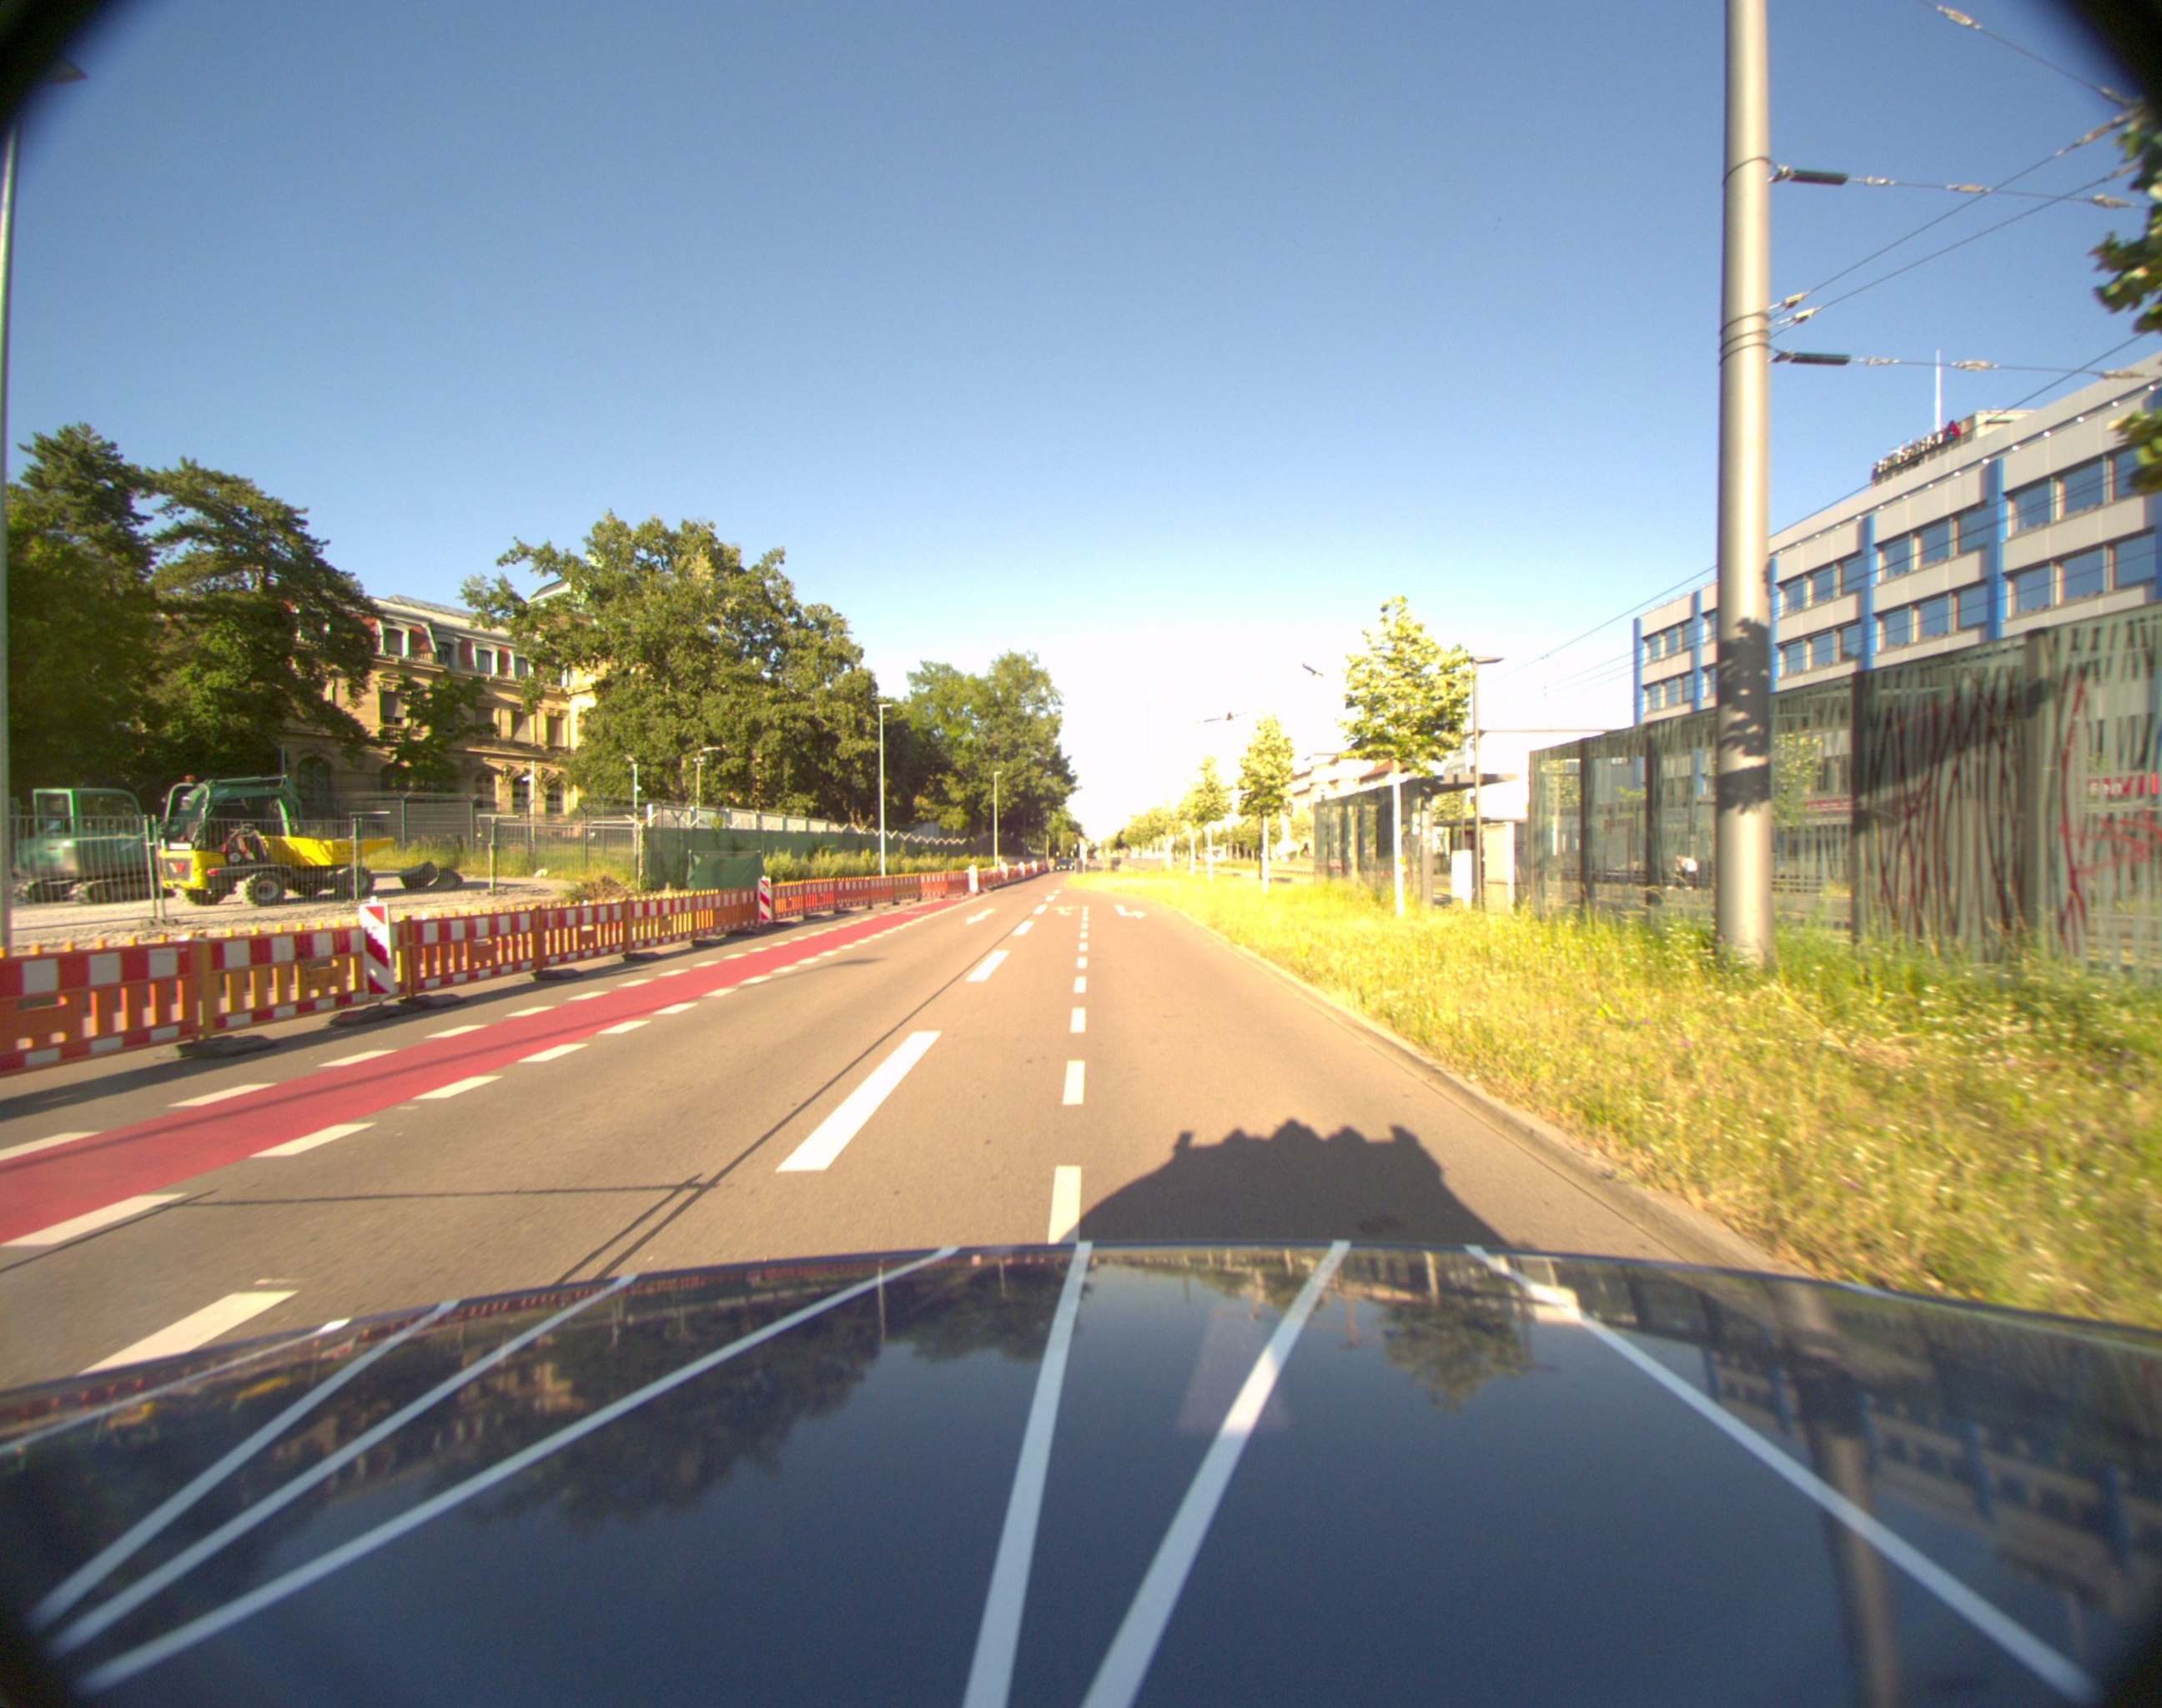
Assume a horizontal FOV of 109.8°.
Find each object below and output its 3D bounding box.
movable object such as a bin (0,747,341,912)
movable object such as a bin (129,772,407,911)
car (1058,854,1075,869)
[{"bbox_3d":[-22.560,-0.521,19.061,2.280,3.537,5.501,0,0,5],"label":"movable object such as a bin"},{"bbox_3d":[-18.779,-0.247,17.867,1.997,2.887,4.002,0,0,7],"label":"movable object such as a bin"},{"bbox_3d":[-1.815,0.927,95.652,2.080,1.827,4.000,0,0,1],"label":"car"}]
